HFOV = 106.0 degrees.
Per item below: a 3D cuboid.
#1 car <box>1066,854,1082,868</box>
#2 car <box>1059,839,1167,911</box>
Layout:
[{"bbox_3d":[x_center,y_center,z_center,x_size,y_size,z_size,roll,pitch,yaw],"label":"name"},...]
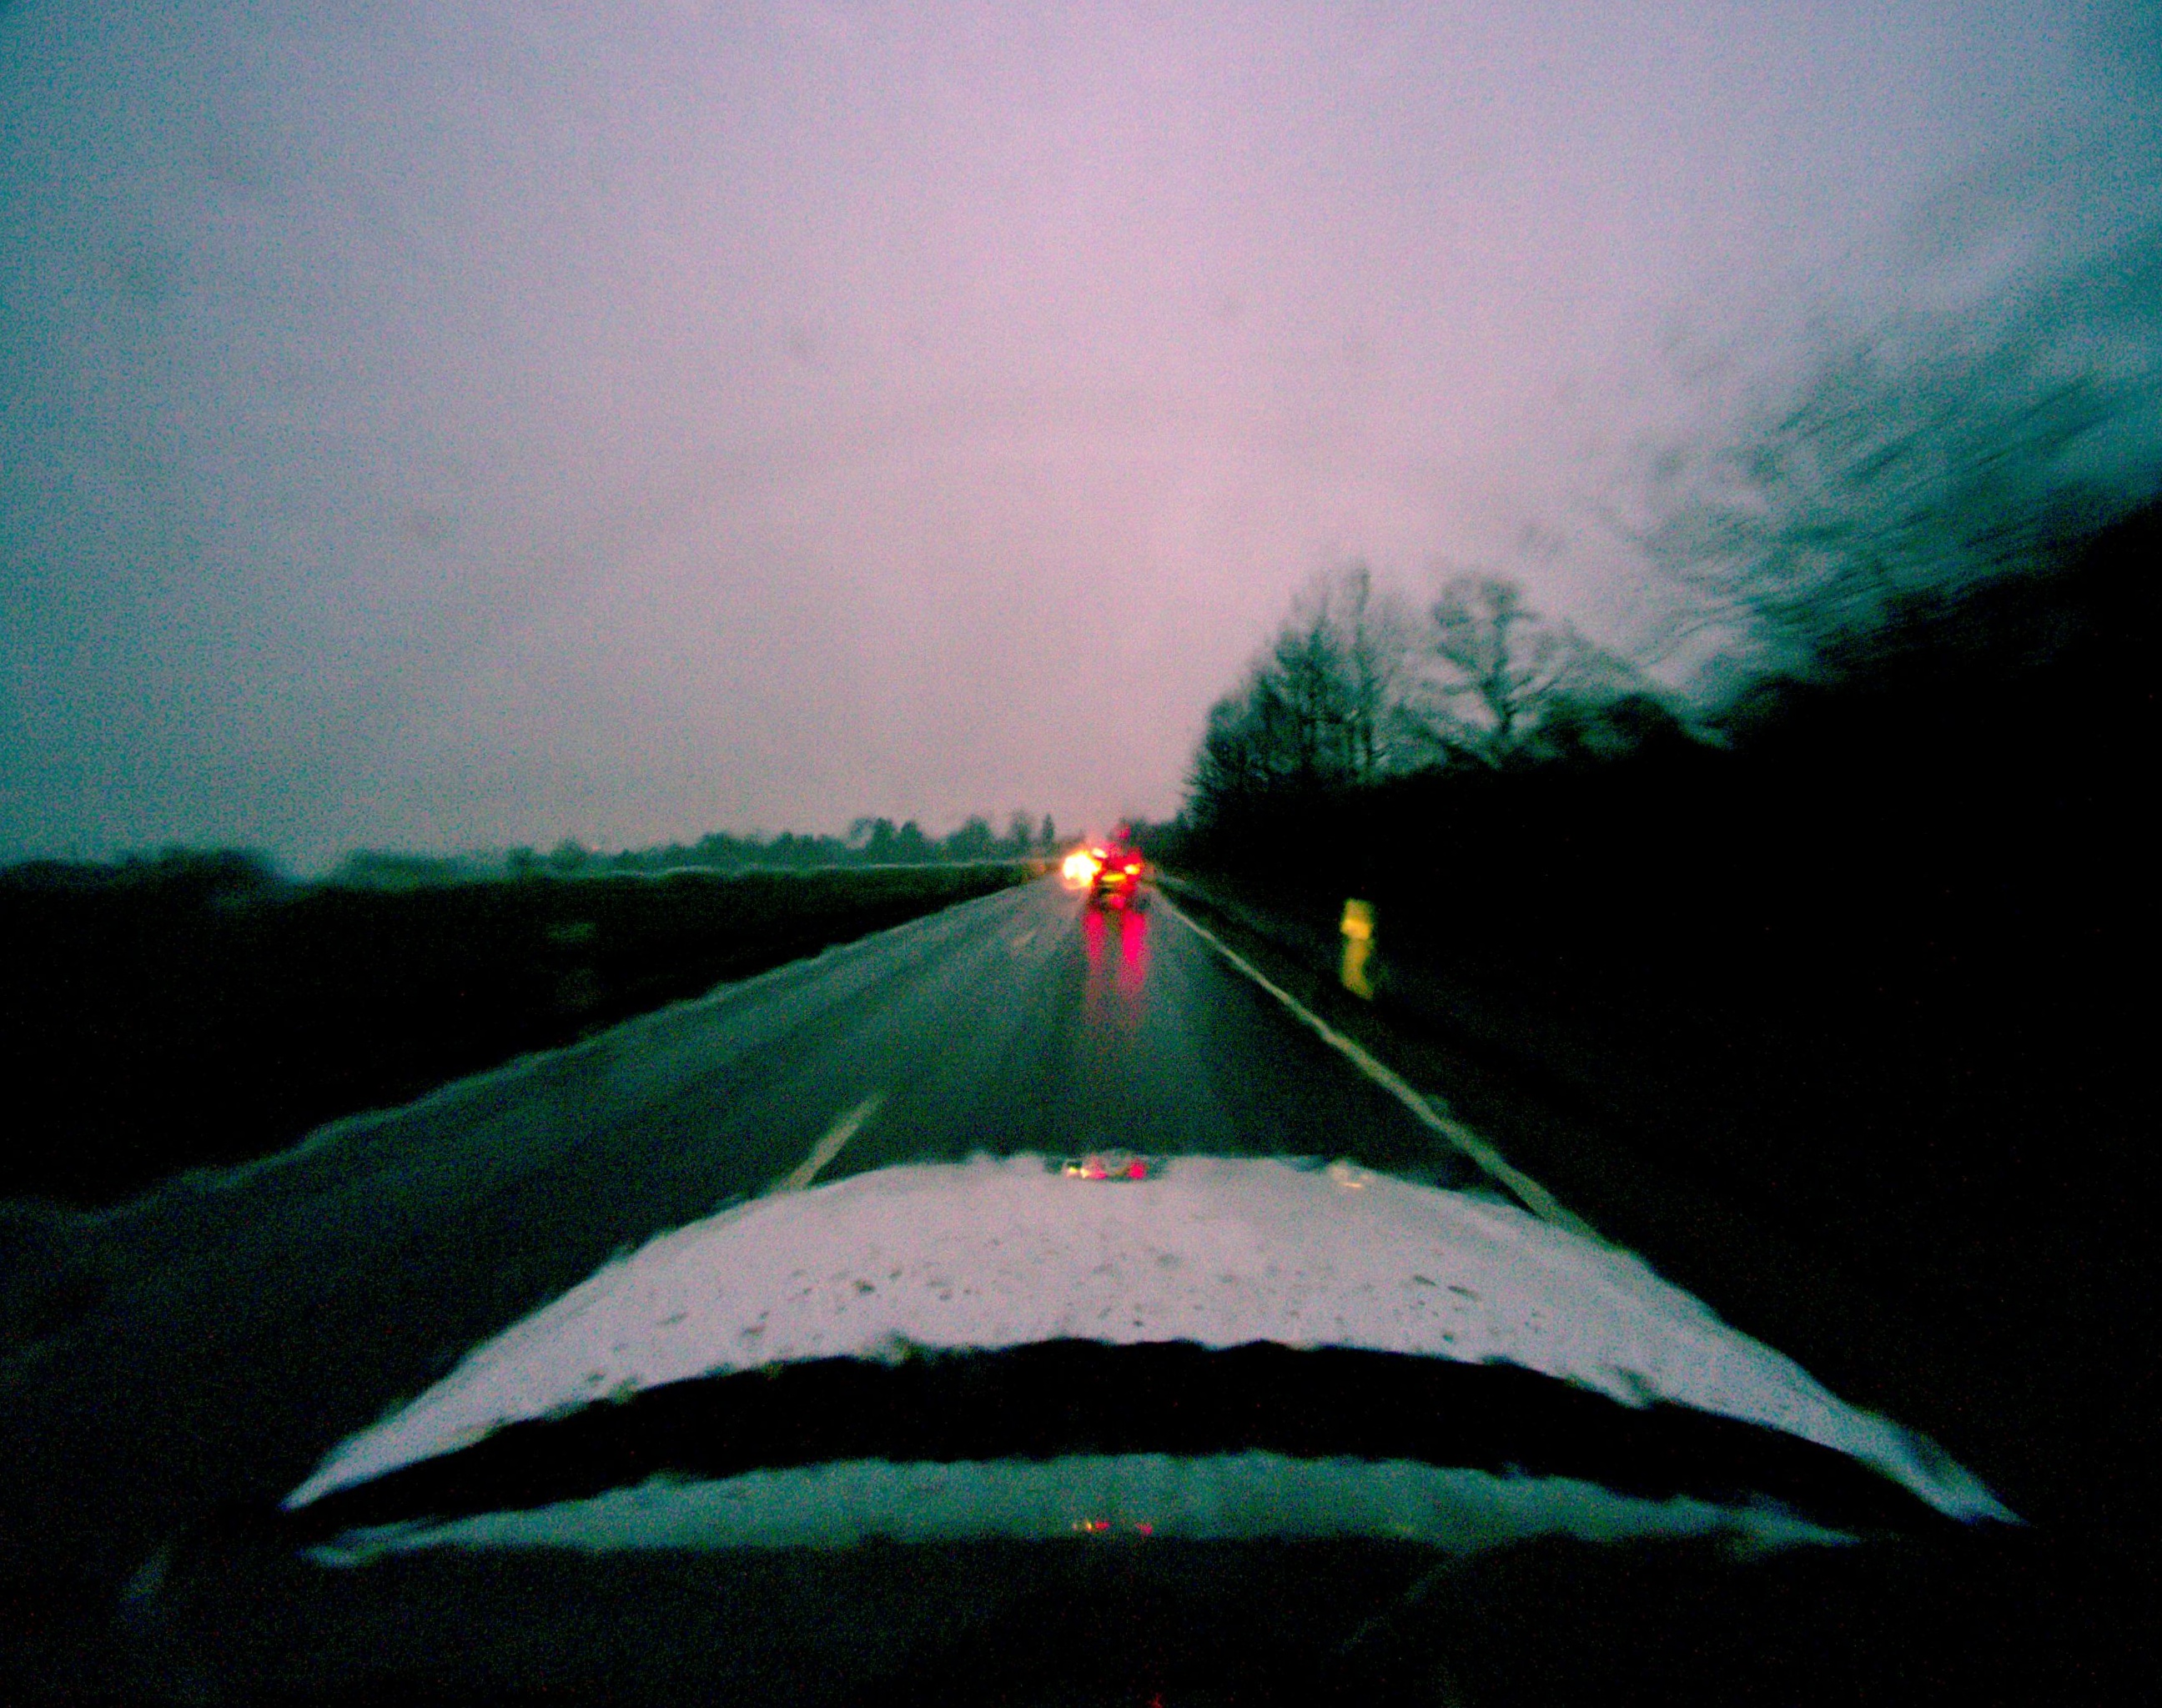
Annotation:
[{"bbox_3d":[-0.782,0.832,98.227,1.833,1.721,3.957,-1,0,1],"label":"car"},{"bbox_3d":[1.084,0.602,27.698,3.152,2.035,6.855,-2,0,2],"label":"car"}]
